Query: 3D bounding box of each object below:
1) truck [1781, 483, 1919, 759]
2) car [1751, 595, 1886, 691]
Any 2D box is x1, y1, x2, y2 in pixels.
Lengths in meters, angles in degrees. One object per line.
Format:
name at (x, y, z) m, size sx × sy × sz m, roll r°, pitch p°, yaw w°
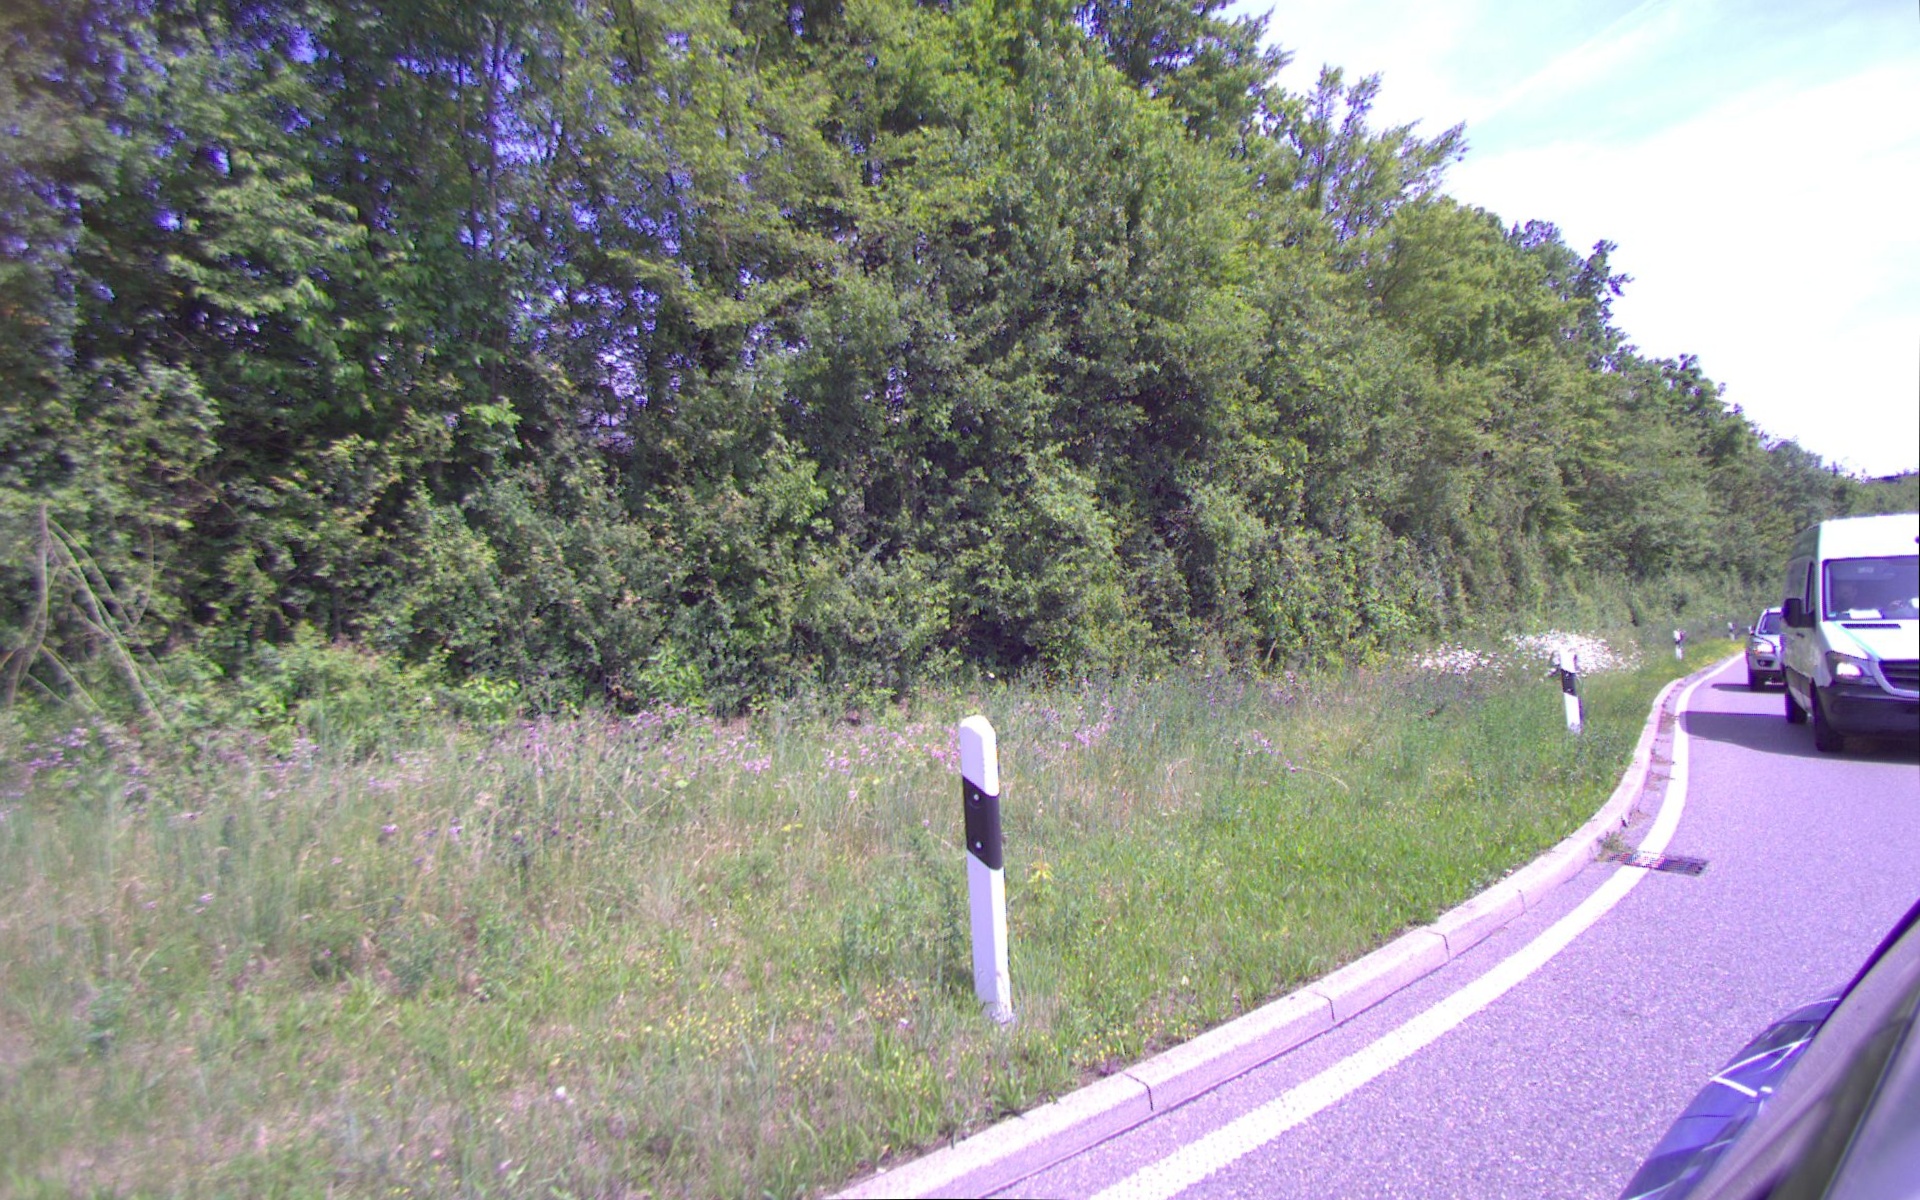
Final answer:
truck at (11.079, 0.242, 11.757) m, size 1.987 × 2.619 × 5.810 m, roll -1°, pitch -1°, yaw 36°
car at (17.233, 0.805, 20.485) m, size 1.840 × 1.730 × 4.033 m, roll -1°, pitch -1°, yaw 38°
